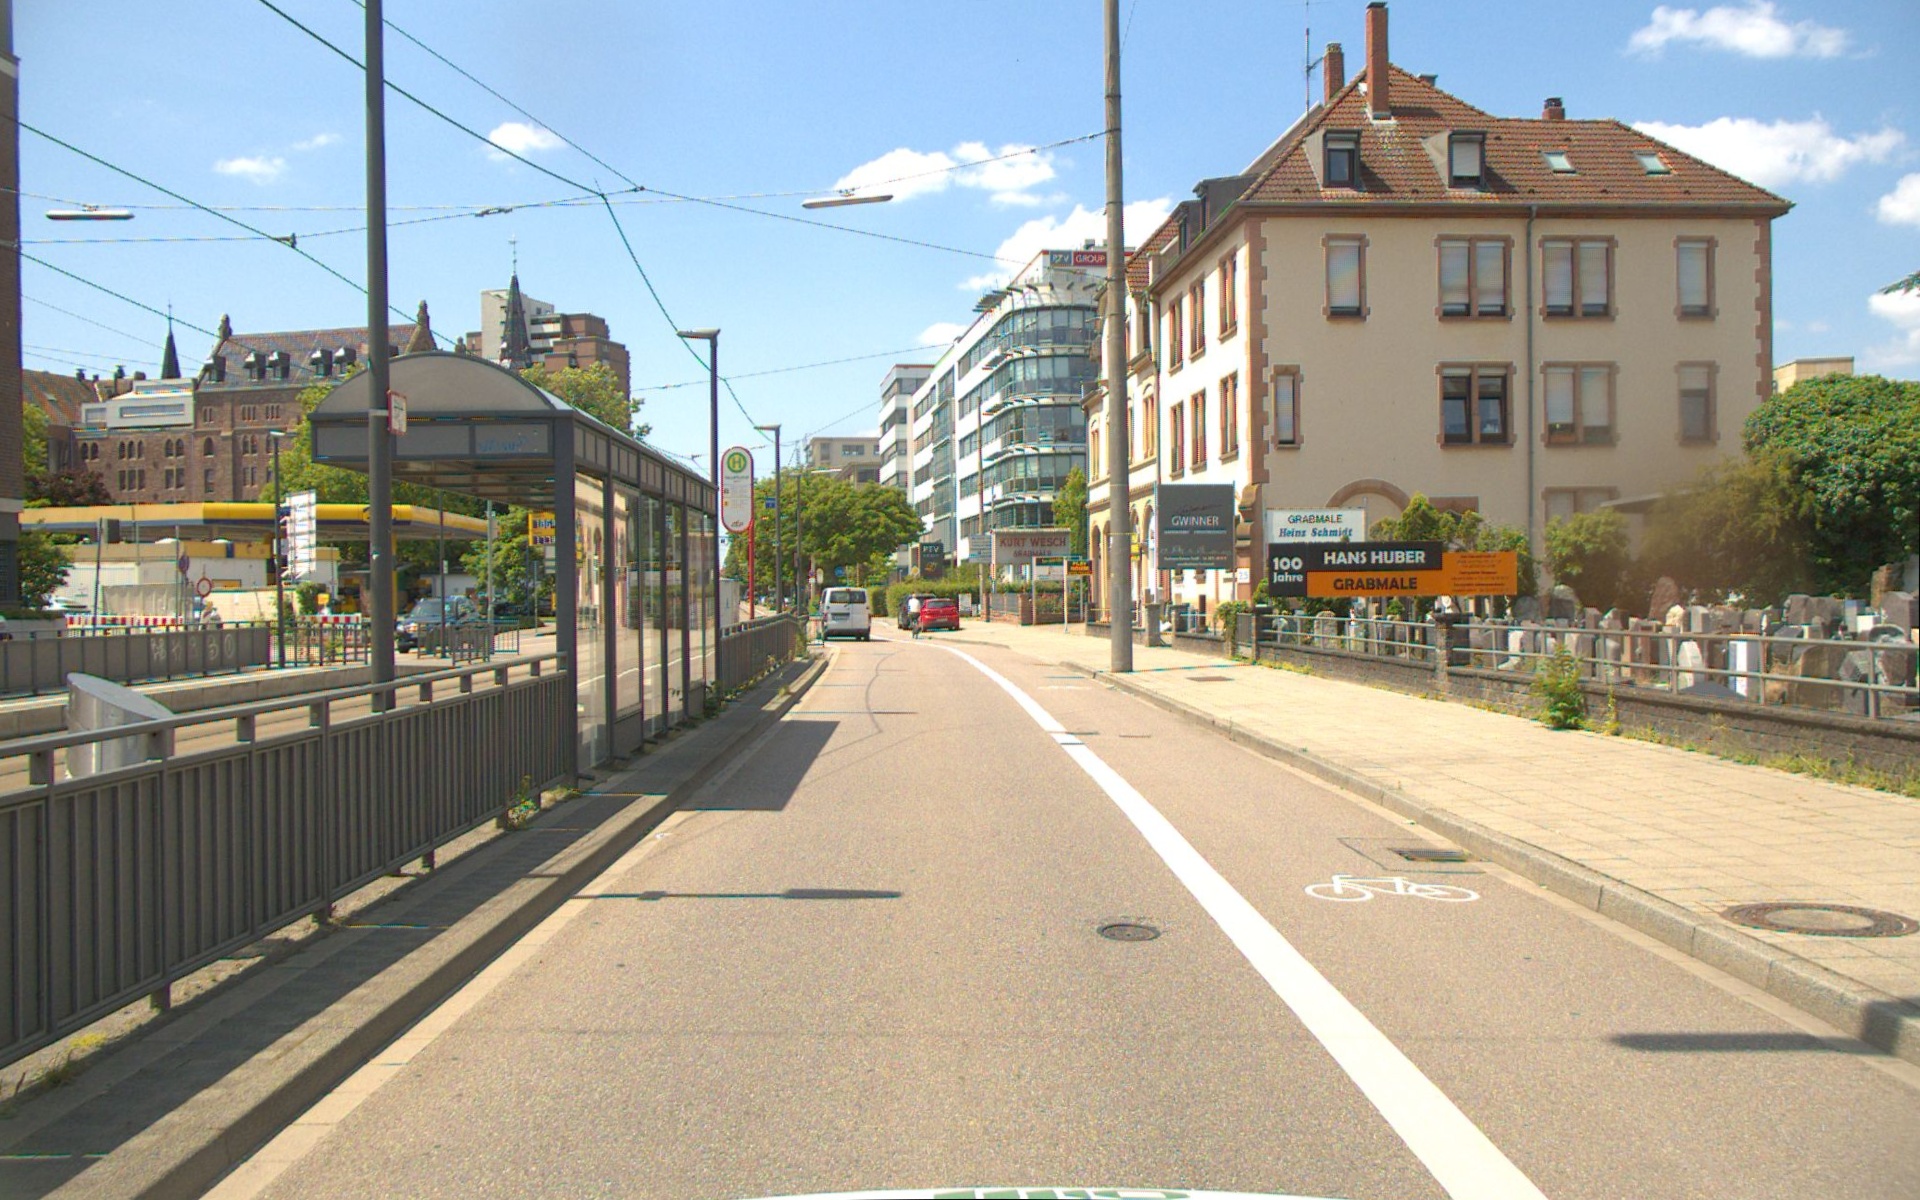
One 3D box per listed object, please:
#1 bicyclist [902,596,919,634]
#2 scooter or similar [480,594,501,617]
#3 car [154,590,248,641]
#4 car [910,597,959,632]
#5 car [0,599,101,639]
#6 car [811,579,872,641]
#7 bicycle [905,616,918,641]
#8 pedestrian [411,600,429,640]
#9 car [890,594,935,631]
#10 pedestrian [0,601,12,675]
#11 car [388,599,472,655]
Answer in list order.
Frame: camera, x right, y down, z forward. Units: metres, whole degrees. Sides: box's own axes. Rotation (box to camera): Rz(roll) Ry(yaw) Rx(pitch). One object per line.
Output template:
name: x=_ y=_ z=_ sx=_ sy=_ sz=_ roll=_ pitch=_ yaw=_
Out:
bicyclist: x=-1.866 y=0.562 z=62.061 sx=0.580 sy=1.421 sz=0.840 roll=0 pitch=0 yaw=-7
scooter or similar: x=-32.118 y=0.367 z=113.116 sx=1.149 sy=1.492 sz=1.058 roll=-1 pitch=-1 yaw=-3
car: x=-28.504 y=0.596 z=62.089 sx=2.042 sy=1.595 sz=3.937 roll=-3 pitch=-1 yaw=-43
car: x=-1.170 y=0.640 z=74.843 sx=1.680 sy=1.478 sz=4.065 roll=-2 pitch=0 yaw=-8
car: x=-35.739 y=0.734 z=64.341 sx=3.918 sy=1.489 sz=1.761 roll=0 pitch=0 yaw=13
car: x=-4.224 y=0.318 z=58.579 sx=1.720 sy=2.048 sz=3.991 roll=-2 pitch=1 yaw=-10
bicycle: x=-1.838 y=1.070 z=62.220 sx=0.456 sy=0.903 sz=2.047 roll=0 pitch=0 yaw=-3
pedestrian: x=-22.760 y=0.830 z=69.660 sx=0.541 sy=1.687 sz=0.672 roll=0 pitch=0 yaw=-1
car: x=-2.352 y=0.592 z=81.129 sx=1.827 sy=1.716 sz=4.994 roll=-1 pitch=0 yaw=-6
pedestrian: x=-18.422 y=0.730 z=31.473 sx=0.426 sy=1.408 sz=0.536 roll=-2 pitch=-1 yaw=-1
car: x=-16.582 y=0.818 z=51.943 sx=1.665 sy=1.644 sz=3.754 roll=-1 pitch=0 yaw=-5
